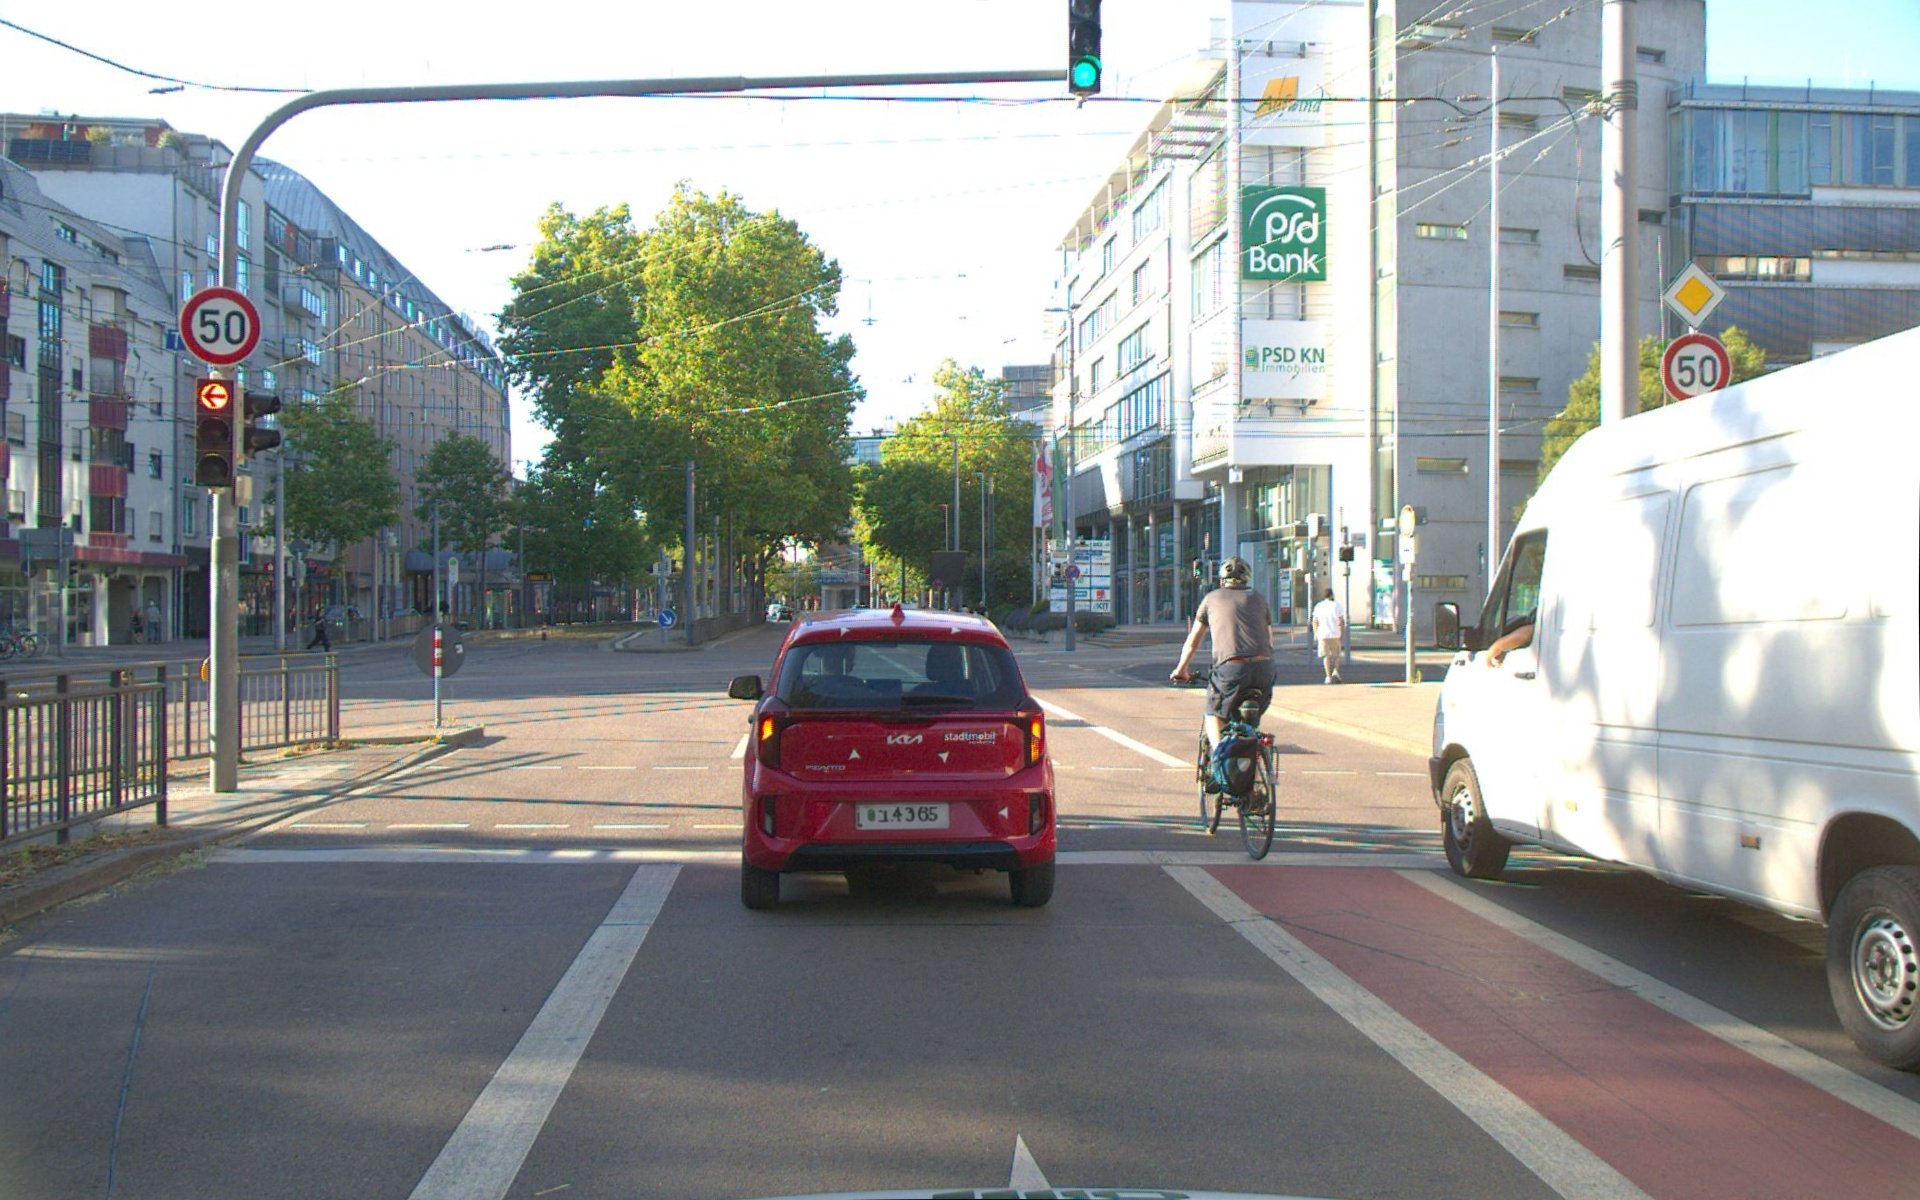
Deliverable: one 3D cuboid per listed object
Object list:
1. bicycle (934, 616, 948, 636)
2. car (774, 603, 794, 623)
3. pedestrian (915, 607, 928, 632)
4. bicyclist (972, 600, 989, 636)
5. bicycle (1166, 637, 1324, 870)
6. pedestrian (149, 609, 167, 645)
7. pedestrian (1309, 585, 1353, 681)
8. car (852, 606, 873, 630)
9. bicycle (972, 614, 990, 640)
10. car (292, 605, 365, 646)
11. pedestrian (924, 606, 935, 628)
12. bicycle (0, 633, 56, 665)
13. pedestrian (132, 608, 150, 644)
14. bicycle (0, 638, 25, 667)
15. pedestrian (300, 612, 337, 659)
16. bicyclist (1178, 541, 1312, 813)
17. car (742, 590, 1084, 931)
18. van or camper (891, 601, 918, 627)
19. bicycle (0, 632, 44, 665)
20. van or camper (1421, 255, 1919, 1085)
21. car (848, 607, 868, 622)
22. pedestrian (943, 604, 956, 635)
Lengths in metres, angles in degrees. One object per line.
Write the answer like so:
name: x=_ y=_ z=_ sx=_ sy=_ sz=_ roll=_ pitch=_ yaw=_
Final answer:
bicycle: x=-1.043 y=1.436 z=91.247 sx=0.510 sy=0.991 sz=2.199 roll=-4 pitch=1 yaw=-5
car: x=-19.011 y=1.395 z=178.407 sx=1.956 sy=2.049 sz=3.992 roll=0 pitch=0 yaw=-8
pedestrian: x=-2.527 y=1.259 z=108.648 sx=0.630 sy=1.607 sz=0.722 roll=-4 pitch=0 yaw=-8
bicyclist: x=0.945 y=0.814 z=76.193 sx=0.707 sy=1.631 sz=1.088 roll=-3 pitch=0 yaw=-1
bicycle: x=1.770 y=0.909 z=10.555 sx=0.637 sy=1.303 sz=1.965 roll=0 pitch=0 yaw=-1
pedestrian: x=-34.025 y=1.124 z=70.145 sx=0.524 sy=1.520 sz=0.586 roll=0 pitch=0 yaw=-9
pedestrian: x=7.373 y=0.648 z=32.930 sx=0.761 sy=1.855 sz=1.217 roll=-1 pitch=0 yaw=9
car: x=-7.670 y=1.389 z=130.328 sx=1.603 sy=1.831 sz=3.327 roll=0 pitch=0 yaw=-3
bicycle: x=0.968 y=1.248 z=76.108 sx=0.682 sy=1.117 sz=1.750 roll=-4 pitch=1 yaw=-1
car: x=-27.227 y=1.084 z=71.427 sx=1.917 sy=1.702 sz=4.255 roll=0 pitch=0 yaw=-6
pedestrian: x=-2.514 y=1.390 z=135.337 sx=0.873 sy=1.783 sz=0.841 roll=0 pitch=0 yaw=-1
bicycle: x=-29.509 y=1.539 z=52.023 sx=1.808 sy=1.002 sz=0.552 roll=0 pitch=0 yaw=-8
pedestrian: x=-34.652 y=1.112 z=70.012 sx=0.524 sy=1.520 sz=0.586 roll=0 pitch=0 yaw=-9
bicycle: x=-29.419 y=1.588 z=50.142 sx=1.806 sy=0.869 sz=0.553 roll=0 pitch=0 yaw=-4
pedestrian: x=-22.198 y=1.222 z=57.255 sx=1.025 sy=1.571 sz=0.694 roll=0 pitch=0 yaw=-5
bicyclist: x=1.790 y=0.464 z=10.520 sx=0.637 sy=1.631 sz=1.088 roll=0 pitch=0 yaw=-1
car: x=-0.363 y=0.746 z=9.368 sx=1.582 sy=1.561 sz=3.408 roll=0 pitch=0 yaw=-5
van or camper: x=-4.440 y=1.149 z=132.057 sx=1.954 sy=2.024 sz=4.740 roll=0 pitch=-1 yaw=-4
bicycle: x=-29.568 y=1.496 z=51.407 sx=1.808 sy=1.002 sz=0.552 roll=0 pitch=0 yaw=-8
van or camper: x=4.052 y=0.241 z=7.248 sx=1.930 sy=2.764 sz=6.300 roll=1 pitch=0 yaw=-4
car: x=-10.831 y=1.563 z=174.953 sx=1.745 sy=1.561 sz=3.503 roll=0 pitch=0 yaw=-10
pedestrian: x=-0.570 y=1.063 z=91.025 sx=0.634 sy=1.710 sz=0.650 roll=0 pitch=0 yaw=-5
